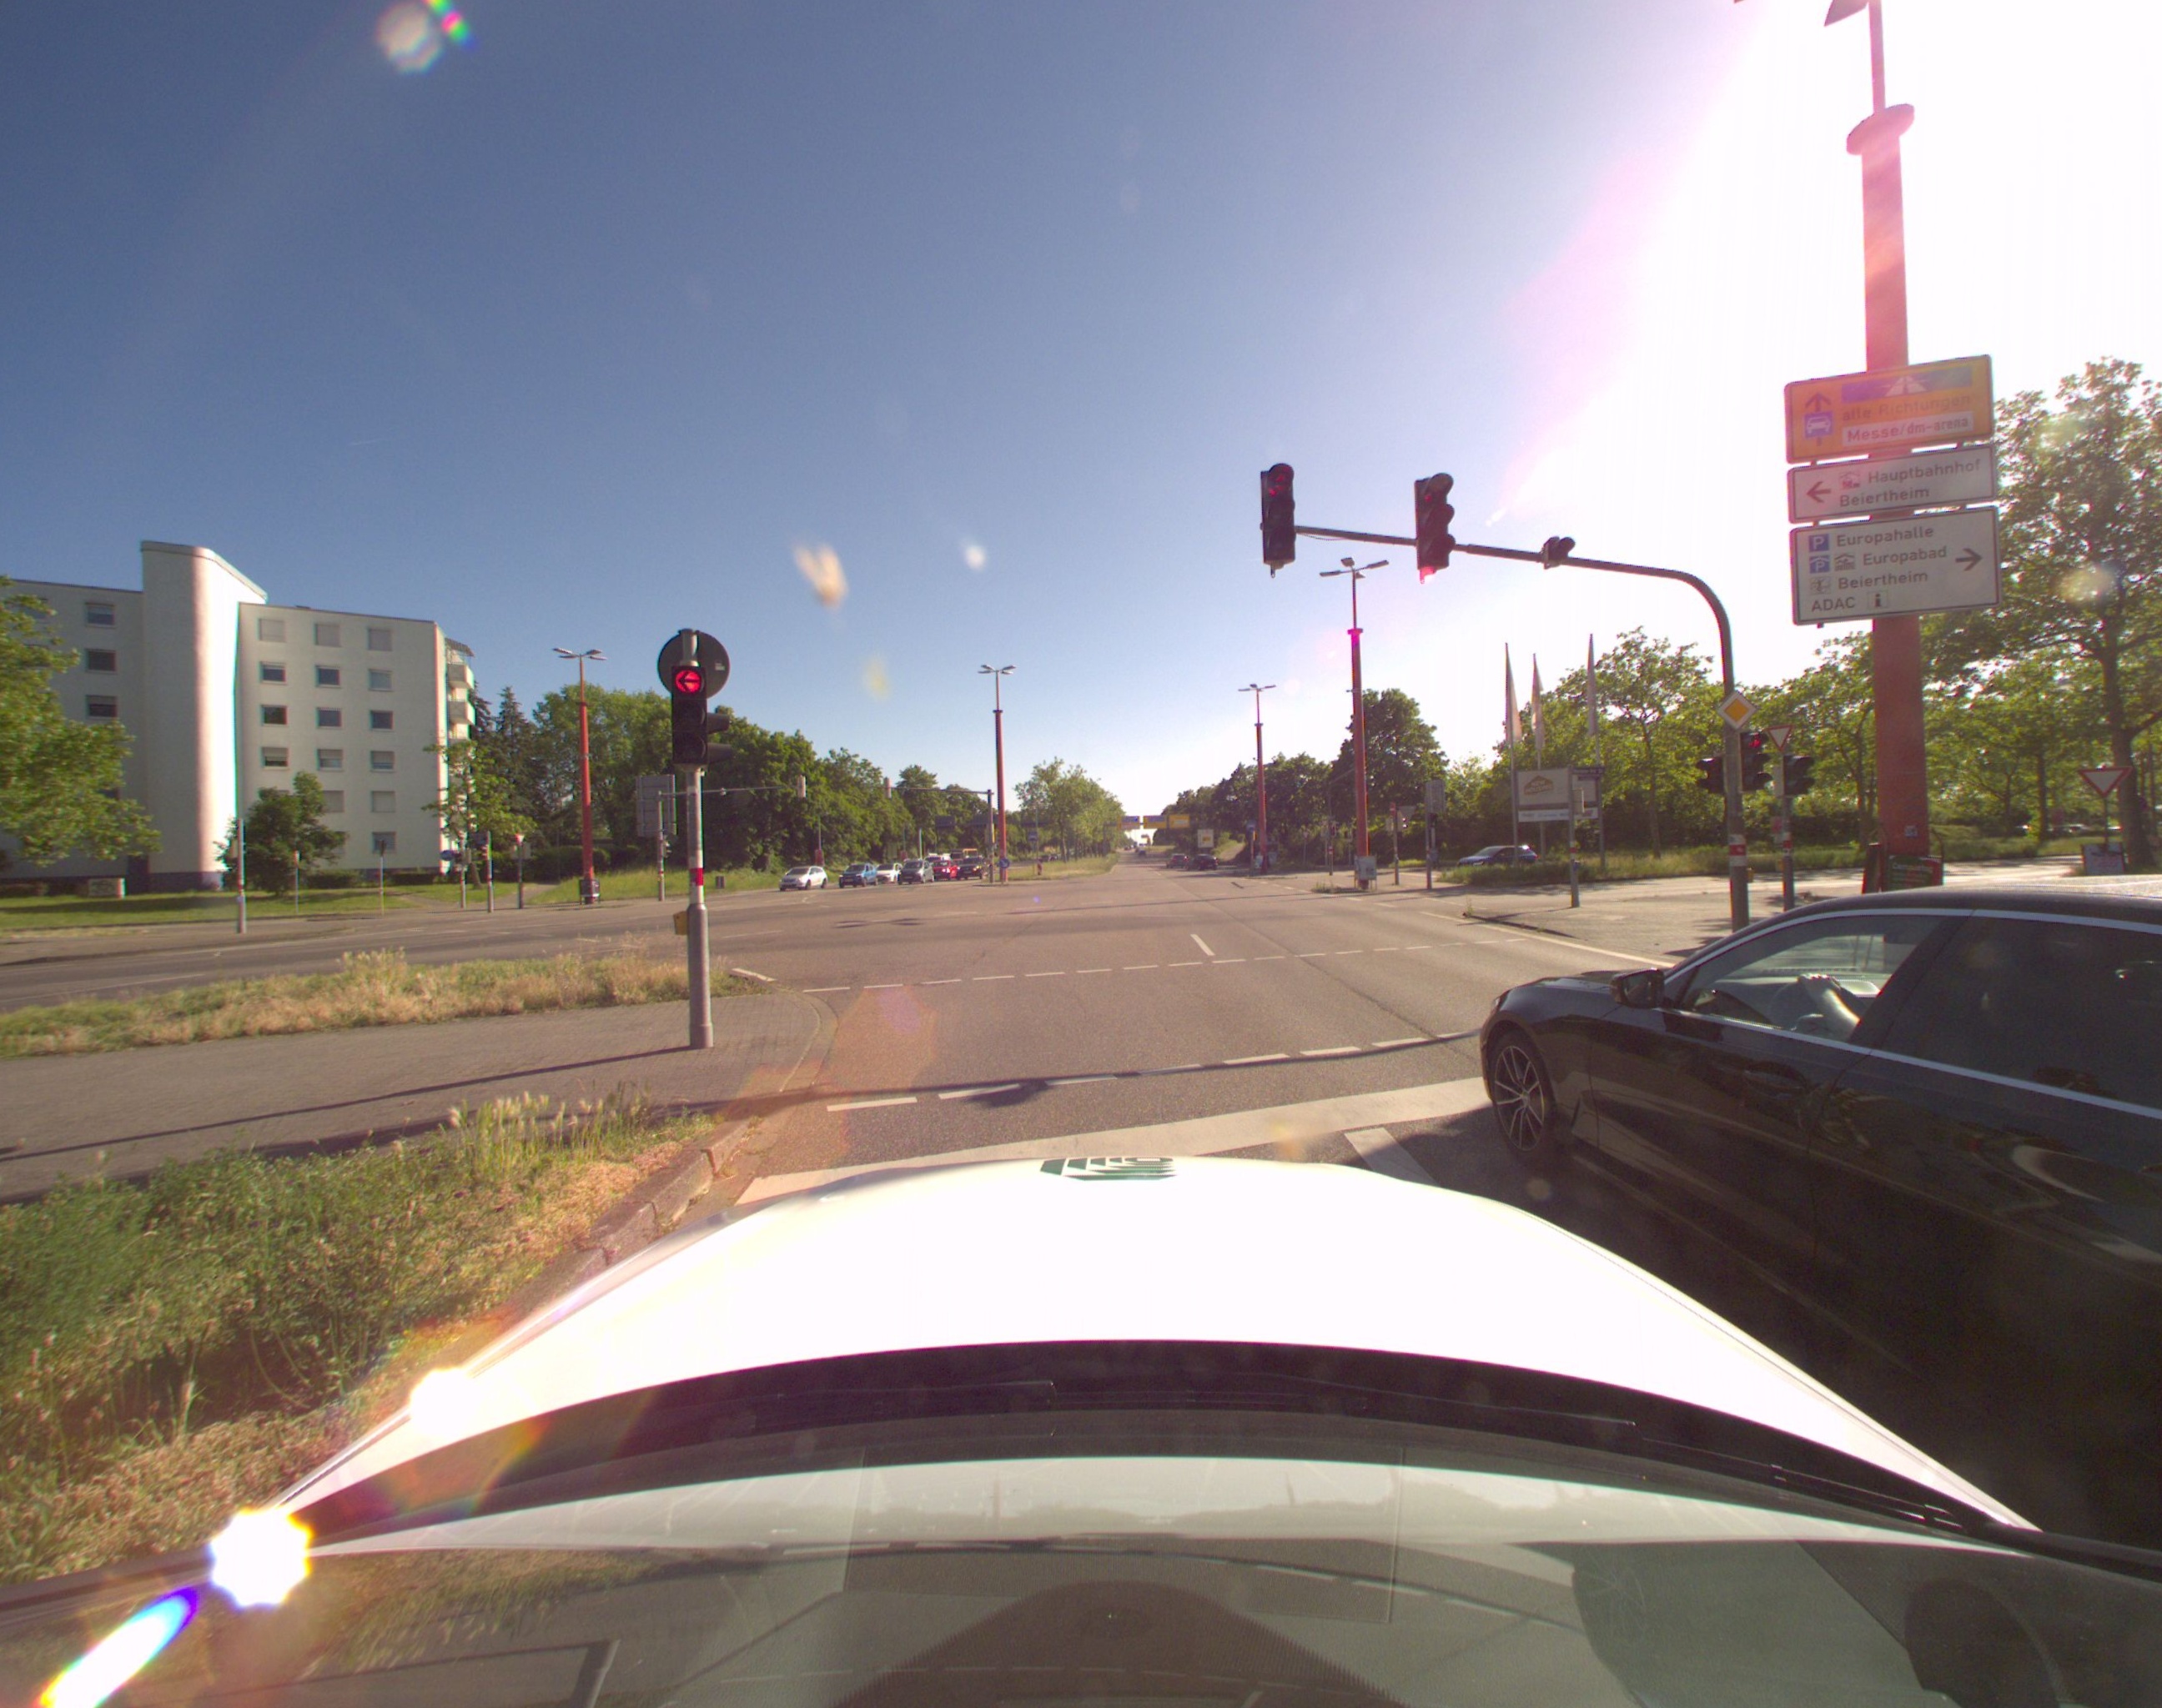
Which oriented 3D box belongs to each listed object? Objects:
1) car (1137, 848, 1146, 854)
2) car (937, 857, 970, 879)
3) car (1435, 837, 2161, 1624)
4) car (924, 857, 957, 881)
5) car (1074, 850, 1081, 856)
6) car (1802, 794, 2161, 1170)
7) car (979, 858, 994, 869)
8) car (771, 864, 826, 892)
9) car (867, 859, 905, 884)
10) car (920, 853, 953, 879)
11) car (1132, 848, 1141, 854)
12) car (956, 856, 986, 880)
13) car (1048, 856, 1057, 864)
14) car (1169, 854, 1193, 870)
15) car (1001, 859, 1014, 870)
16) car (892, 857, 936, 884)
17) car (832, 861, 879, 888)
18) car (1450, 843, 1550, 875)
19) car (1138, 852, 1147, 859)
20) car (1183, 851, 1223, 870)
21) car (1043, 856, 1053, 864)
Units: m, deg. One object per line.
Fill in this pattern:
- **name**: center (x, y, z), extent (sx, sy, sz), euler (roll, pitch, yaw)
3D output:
- **car**: center (16.708, -0.879, 226.425), extent (2.151, 1.573, 4.281), euler (-2, 0, 1)
- **car**: center (-10.063, 1.093, 64.650), extent (1.988, 1.573, 4.118), euler (-2, 0, -1)
- **car**: center (2.955, 0.666, 2.370), extent (1.986, 1.394, 4.479), euler (-2, 0, 2)
- **car**: center (-10.101, 1.047, 58.869), extent (1.991, 1.573, 4.112), euler (-2, 0, -6)
- **car**: center (-1.136, -0.338, 256.435), extent (1.872, 1.573, 4.117), euler (-2, 0, -2)
- **car**: center (5.802, 0.560, 3.258), extent (1.959, 1.686, 4.479), euler (-1, 0, 2)
- **car**: center (-14.583, 1.491, 125.602), extent (1.872, 1.573, 4.117), euler (-2, 0, -2)
- **car**: center (-17.691, 1.467, 51.178), extent (1.987, 1.573, 4.120), euler (-2, 0, 0)
- **car**: center (-13.736, 1.216, 57.520), extent (1.991, 1.573, 4.112), euler (-3, 0, -6)
- **car**: center (-12.732, 1.054, 71.983), extent (2.055, 2.193, 4.377), euler (-2, 0, 0)
- **car**: center (16.863, -0.874, 246.923), extent (2.153, 1.573, 4.277), euler (-2, 0, -2)
- **car**: center (-7.563, 0.939, 56.486), extent (1.874, 1.573, 4.112), euler (-2, 0, -6)
- **car**: center (-6.444, 1.346, 184.413), extent (1.892, 1.771, 3.849), euler (-2, 0, 0)
- **car**: center (10.631, 0.852, 86.994), extent (2.150, 1.573, 4.587), euler (-2, 0, 3)
- **car**: center (-11.852, 1.691, 131.271), extent (1.872, 1.573, 3.943), euler (-2, 0, -2)
- **car**: center (-10.730, 1.046, 52.577), extent (1.988, 1.573, 4.119), euler (-2, 0, -1)
- **car**: center (-14.234, 1.284, 51.638), extent (1.989, 1.573, 4.116), euler (-2, 0, -3)
- **car**: center (20.662, 0.236, 40.228), extent (4.276, 1.428, 1.874), euler (-2, 0, -16)
- **car**: center (15.144, 0.393, 201.733), extent (2.149, 1.573, 4.285), euler (-2, 0, 4)
- **car**: center (10.606, 0.541, 71.150), extent (2.160, 1.573, 4.264), euler (-2, 0, -11)
- **car**: center (-6.461, 1.121, 157.569), extent (1.872, 1.573, 4.117), euler (-2, 0, -2)
